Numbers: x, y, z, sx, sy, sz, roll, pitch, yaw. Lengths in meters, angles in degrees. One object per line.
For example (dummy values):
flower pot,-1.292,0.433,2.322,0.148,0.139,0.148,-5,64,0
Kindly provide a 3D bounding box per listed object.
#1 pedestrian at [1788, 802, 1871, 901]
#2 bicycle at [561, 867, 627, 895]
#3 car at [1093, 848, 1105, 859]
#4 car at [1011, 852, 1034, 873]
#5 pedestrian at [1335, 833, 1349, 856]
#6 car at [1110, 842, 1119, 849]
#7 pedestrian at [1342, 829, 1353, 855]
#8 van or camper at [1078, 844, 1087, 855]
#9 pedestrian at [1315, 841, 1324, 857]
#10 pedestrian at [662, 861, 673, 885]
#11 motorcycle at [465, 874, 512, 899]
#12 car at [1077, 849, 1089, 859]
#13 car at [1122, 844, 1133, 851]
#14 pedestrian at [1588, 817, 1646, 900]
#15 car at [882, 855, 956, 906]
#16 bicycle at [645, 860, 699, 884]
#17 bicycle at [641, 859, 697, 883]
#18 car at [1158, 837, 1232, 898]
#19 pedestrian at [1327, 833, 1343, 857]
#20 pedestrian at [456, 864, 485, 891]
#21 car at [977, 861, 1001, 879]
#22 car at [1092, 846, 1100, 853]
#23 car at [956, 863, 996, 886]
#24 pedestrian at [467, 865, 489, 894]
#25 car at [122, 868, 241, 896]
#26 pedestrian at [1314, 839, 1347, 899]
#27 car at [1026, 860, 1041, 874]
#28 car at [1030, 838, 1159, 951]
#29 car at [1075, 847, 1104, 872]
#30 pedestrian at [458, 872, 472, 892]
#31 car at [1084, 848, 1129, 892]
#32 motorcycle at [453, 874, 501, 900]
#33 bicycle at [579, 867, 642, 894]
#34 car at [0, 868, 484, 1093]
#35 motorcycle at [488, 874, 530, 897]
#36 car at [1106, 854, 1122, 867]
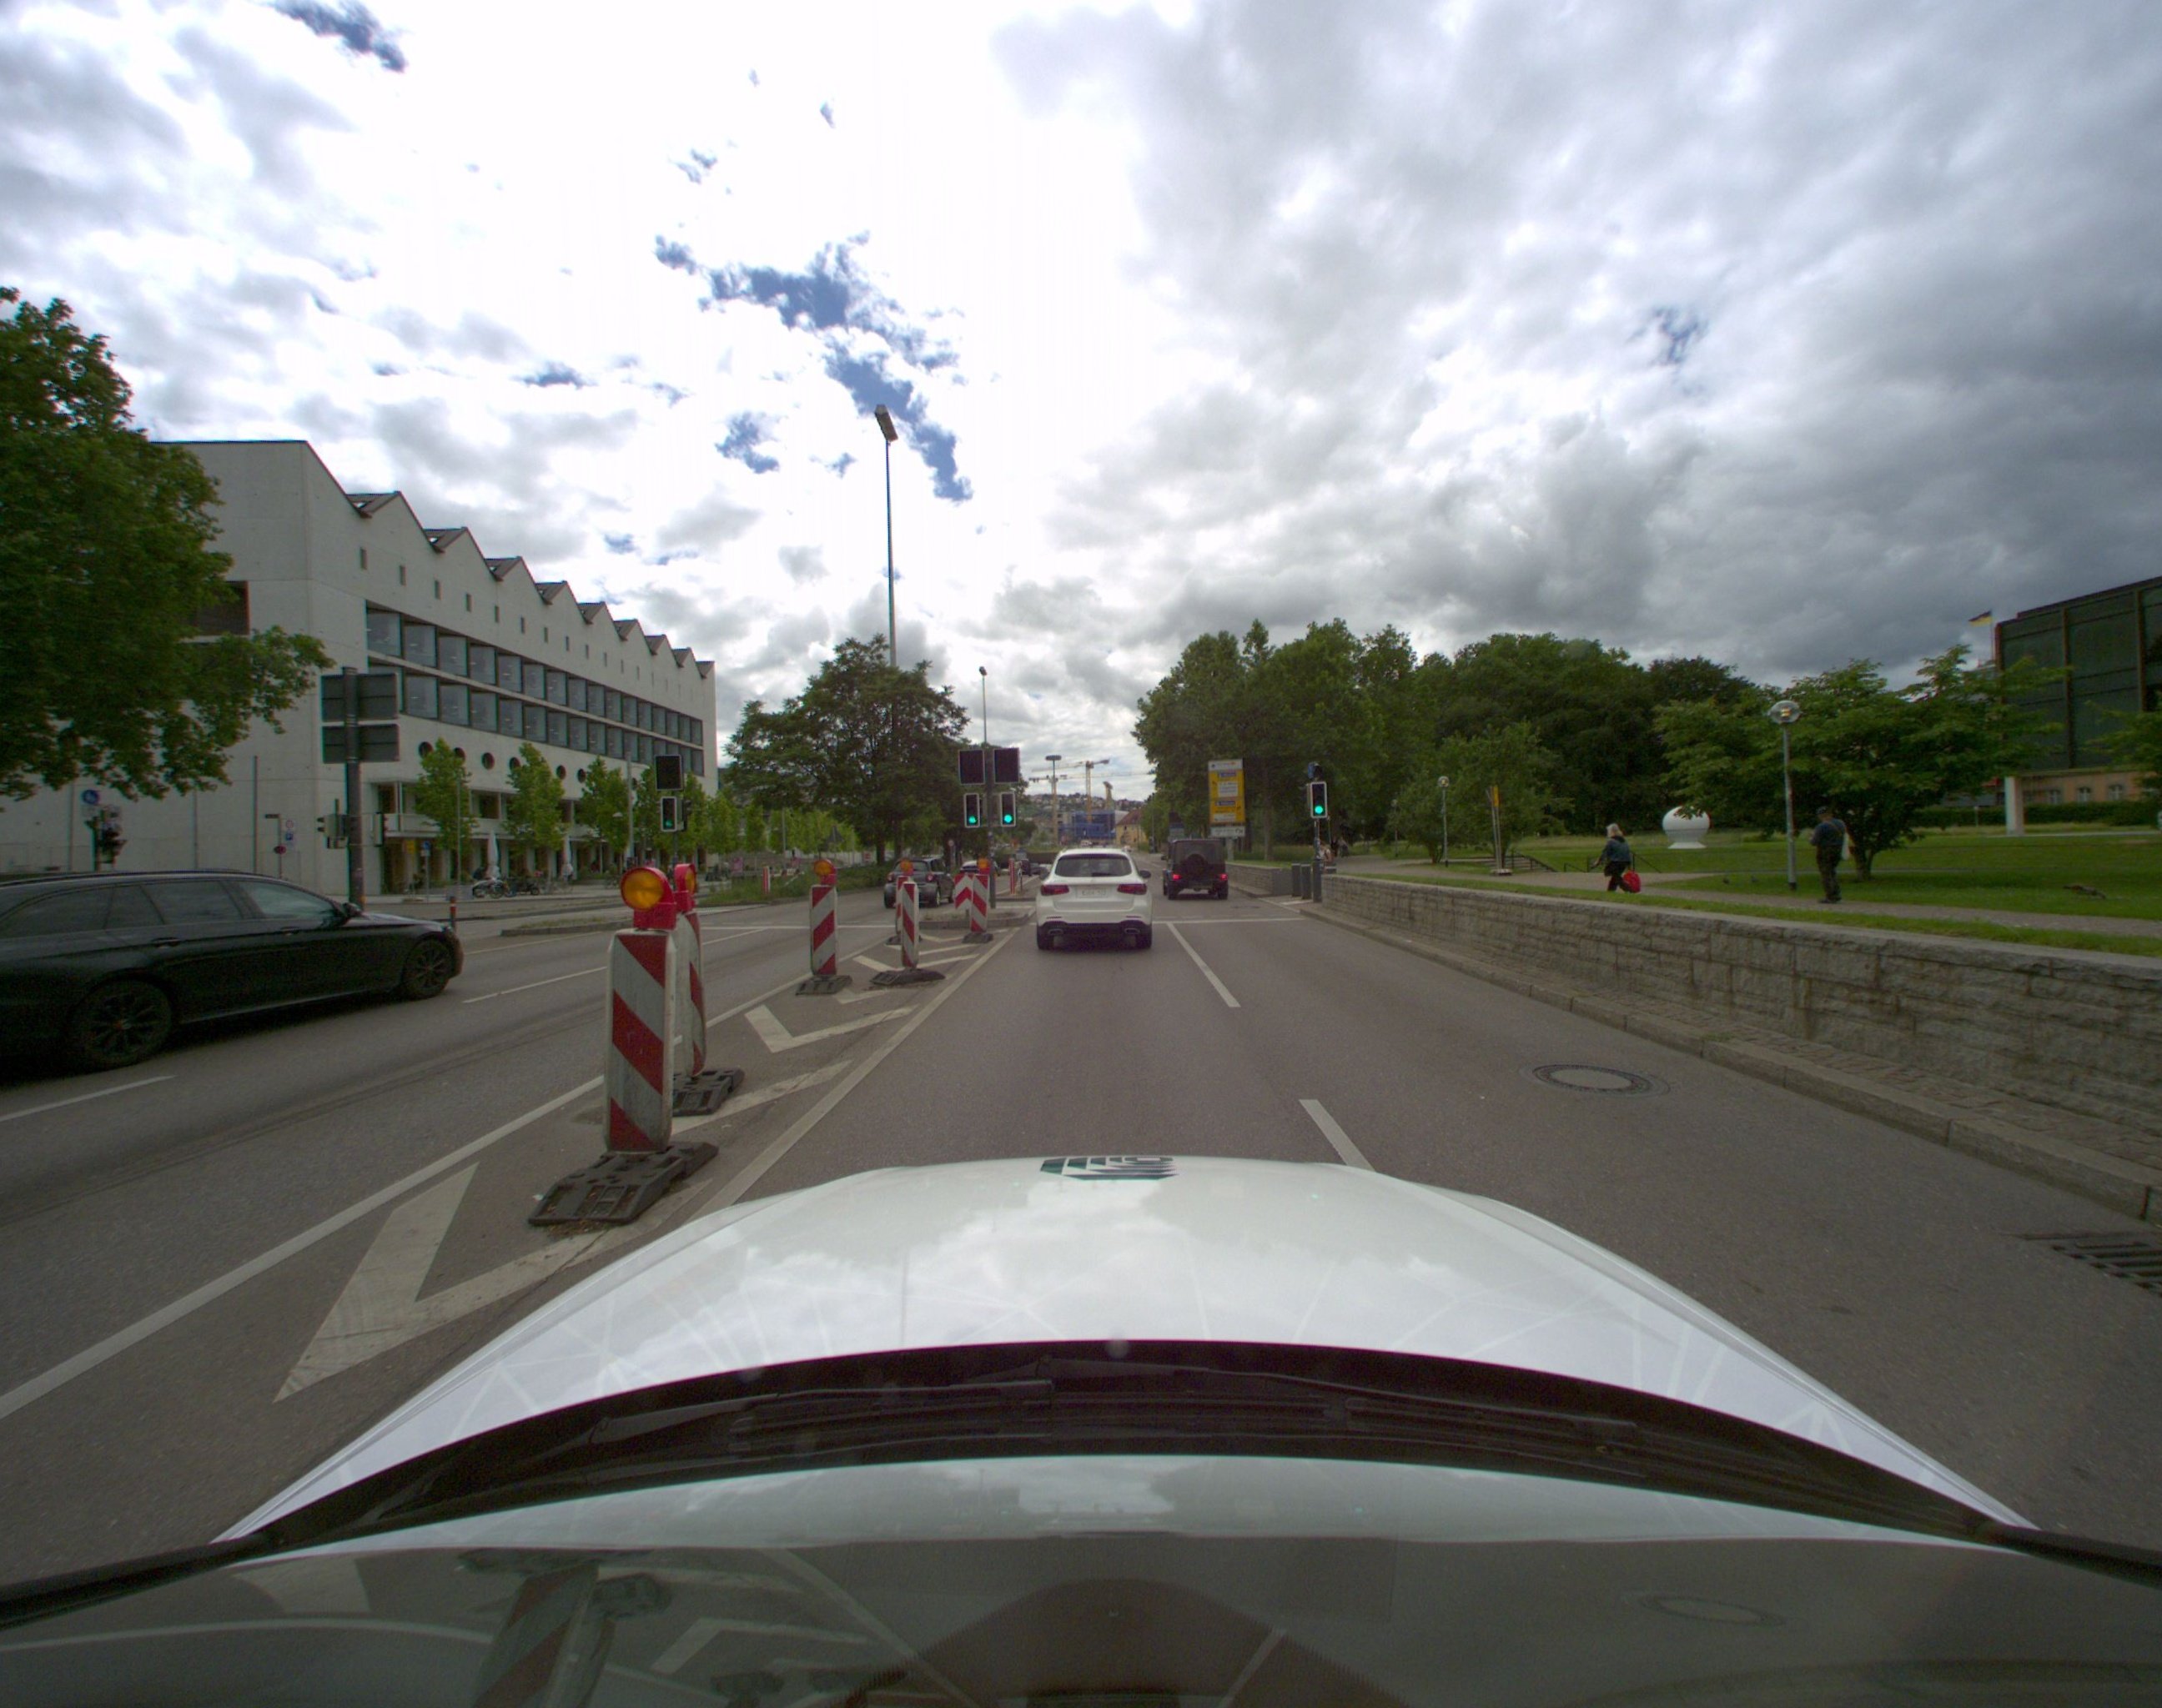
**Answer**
pedestrian,12.768,-0.041,13.908,0.797,1.626,0.627,-2,0,8
bicycle,-32.688,1.782,54.712,3.603,1.684,1.182,-2,0,-2
car,3.259,-0.063,147.445,1.987,1.781,3.999,1,-1,0
car,-4.873,0.705,67.973,1.714,1.678,3.997,1,0,-2
pedestrian,20.722,-0.733,64.635,0.990,1.836,1.033,0,-1,12
car,7.742,-1.917,188.583,1.714,1.584,3.997,1,0,-2
pedestrian,20.655,-0.903,63.088,0.568,2.014,0.932,1,-1,1
van or camper,0.300,-1.076,189.767,1.916,2.320,3.998,-1,-2,0
pedestrian,20.156,-0.457,68.823,0.580,1.325,0.542,1,-2,1
pedestrian,-35.578,1.628,70.049,0.713,2.012,0.734,-2,7,-20
motorcycle,-31.650,1.718,43.511,1.893,1.234,0.653,-2,-2,-25
car,0.340,-0.017,143.152,1.986,1.757,4.001,1,-1,2
car,11.294,-1.608,197.960,1.990,1.618,3.993,1,-1,-4
pedestrian,10.497,0.090,15.969,0.677,1.562,0.912,-2,0,17
car,-5.070,0.800,25.902,1.622,1.509,3.539,0,-1,0
bicycle,-32.501,1.410,64.787,3.614,1.684,1.178,-2,0,-11
bicycle,-31.918,1.308,63.133,3.614,1.684,1.178,-2,0,-11
car,3.802,0.452,27.890,1.970,1.893,4.708,1,-1,1
pedestrian,18.602,-0.675,59.585,0.893,1.732,0.969,1,0,1
pedestrian,-36.345,1.403,48.483,1.094,1.568,0.761,1,-1,3
car,-8.154,1.390,72.720,1.748,1.553,3.998,0,0,-1
car,3.496,-1.045,195.890,1.714,1.584,3.997,1,0,-2
car,-6.482,1.240,50.741,1.711,1.292,4.004,1,0,4
pedestrian,-33.078,1.397,44.697,0.887,1.557,0.591,-2,0,-43
car,-45.525,1.403,41.270,3.974,1.276,1.751,2,-1,0
pedestrian,7.000,0.419,22.864,0.695,1.656,0.683,1,-1,-1
car,-5.960,1.623,101.937,1.716,1.584,3.994,1,0,-4
car,0.194,0.638,14.355,1.935,1.684,3.998,1,-1,-1
car,0.558,0.361,56.694,1.916,1.602,3.999,-1,0,0
pedestrian,-41.503,1.856,54.870,0.517,1.327,0.565,-3,-2,0
car,0.984,0.646,32.659,1.666,1.628,4.000,1,-1,1
motorcycle,-31.437,1.714,42.416,1.893,1.234,0.653,-2,-2,-25
bicycle,-32.996,1.870,57.137,3.603,1.684,1.182,-2,0,-2
car,-8.094,0.894,7.396,1.807,1.460,4.860,-1,-1,-1
motorcycle,-32.980,1.803,46.989,1.893,1.234,0.653,-2,-2,-25
car,4.497,0.855,110.578,1.987,1.662,3.999,1,-1,0
